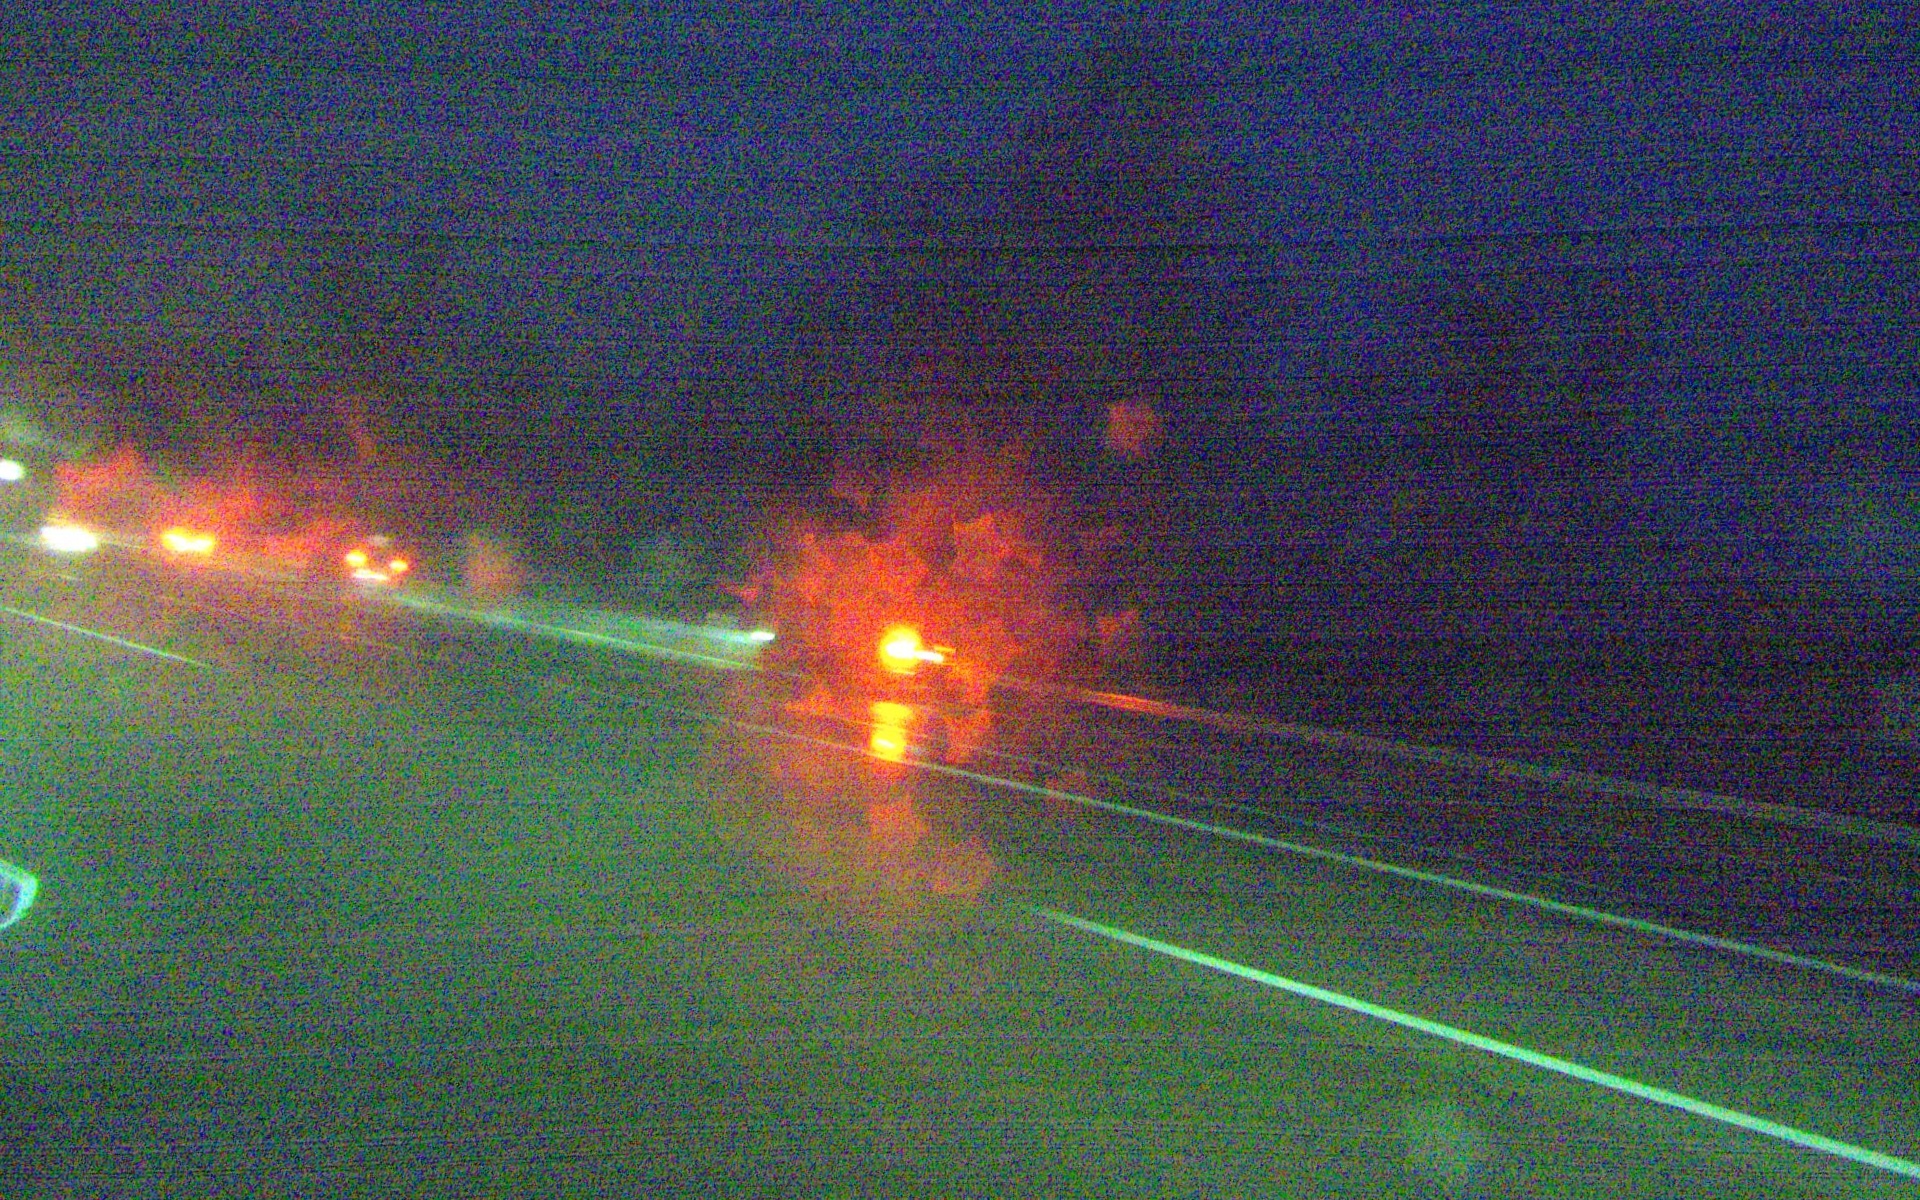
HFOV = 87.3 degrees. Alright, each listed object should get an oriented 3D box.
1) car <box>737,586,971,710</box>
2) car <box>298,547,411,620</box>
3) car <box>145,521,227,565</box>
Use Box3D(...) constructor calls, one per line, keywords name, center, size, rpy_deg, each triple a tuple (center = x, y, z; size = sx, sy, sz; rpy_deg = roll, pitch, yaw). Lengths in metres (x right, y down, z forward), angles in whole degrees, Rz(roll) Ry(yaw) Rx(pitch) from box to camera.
Box3D(name="car", center=(-2.578, 1.054, 23.467), size=(5.370, 2.036, 2.063), rpy_deg=(7, -2, 40))
Box3D(name="car", center=(-22.425, -0.627, 37.215), size=(3.942, 2.036, 2.232), rpy_deg=(7, -2, 40))
Box3D(name="car", center=(-38.941, -2.883, 50.585), size=(3.936, 1.617, 1.998), rpy_deg=(7, -4, 34))
